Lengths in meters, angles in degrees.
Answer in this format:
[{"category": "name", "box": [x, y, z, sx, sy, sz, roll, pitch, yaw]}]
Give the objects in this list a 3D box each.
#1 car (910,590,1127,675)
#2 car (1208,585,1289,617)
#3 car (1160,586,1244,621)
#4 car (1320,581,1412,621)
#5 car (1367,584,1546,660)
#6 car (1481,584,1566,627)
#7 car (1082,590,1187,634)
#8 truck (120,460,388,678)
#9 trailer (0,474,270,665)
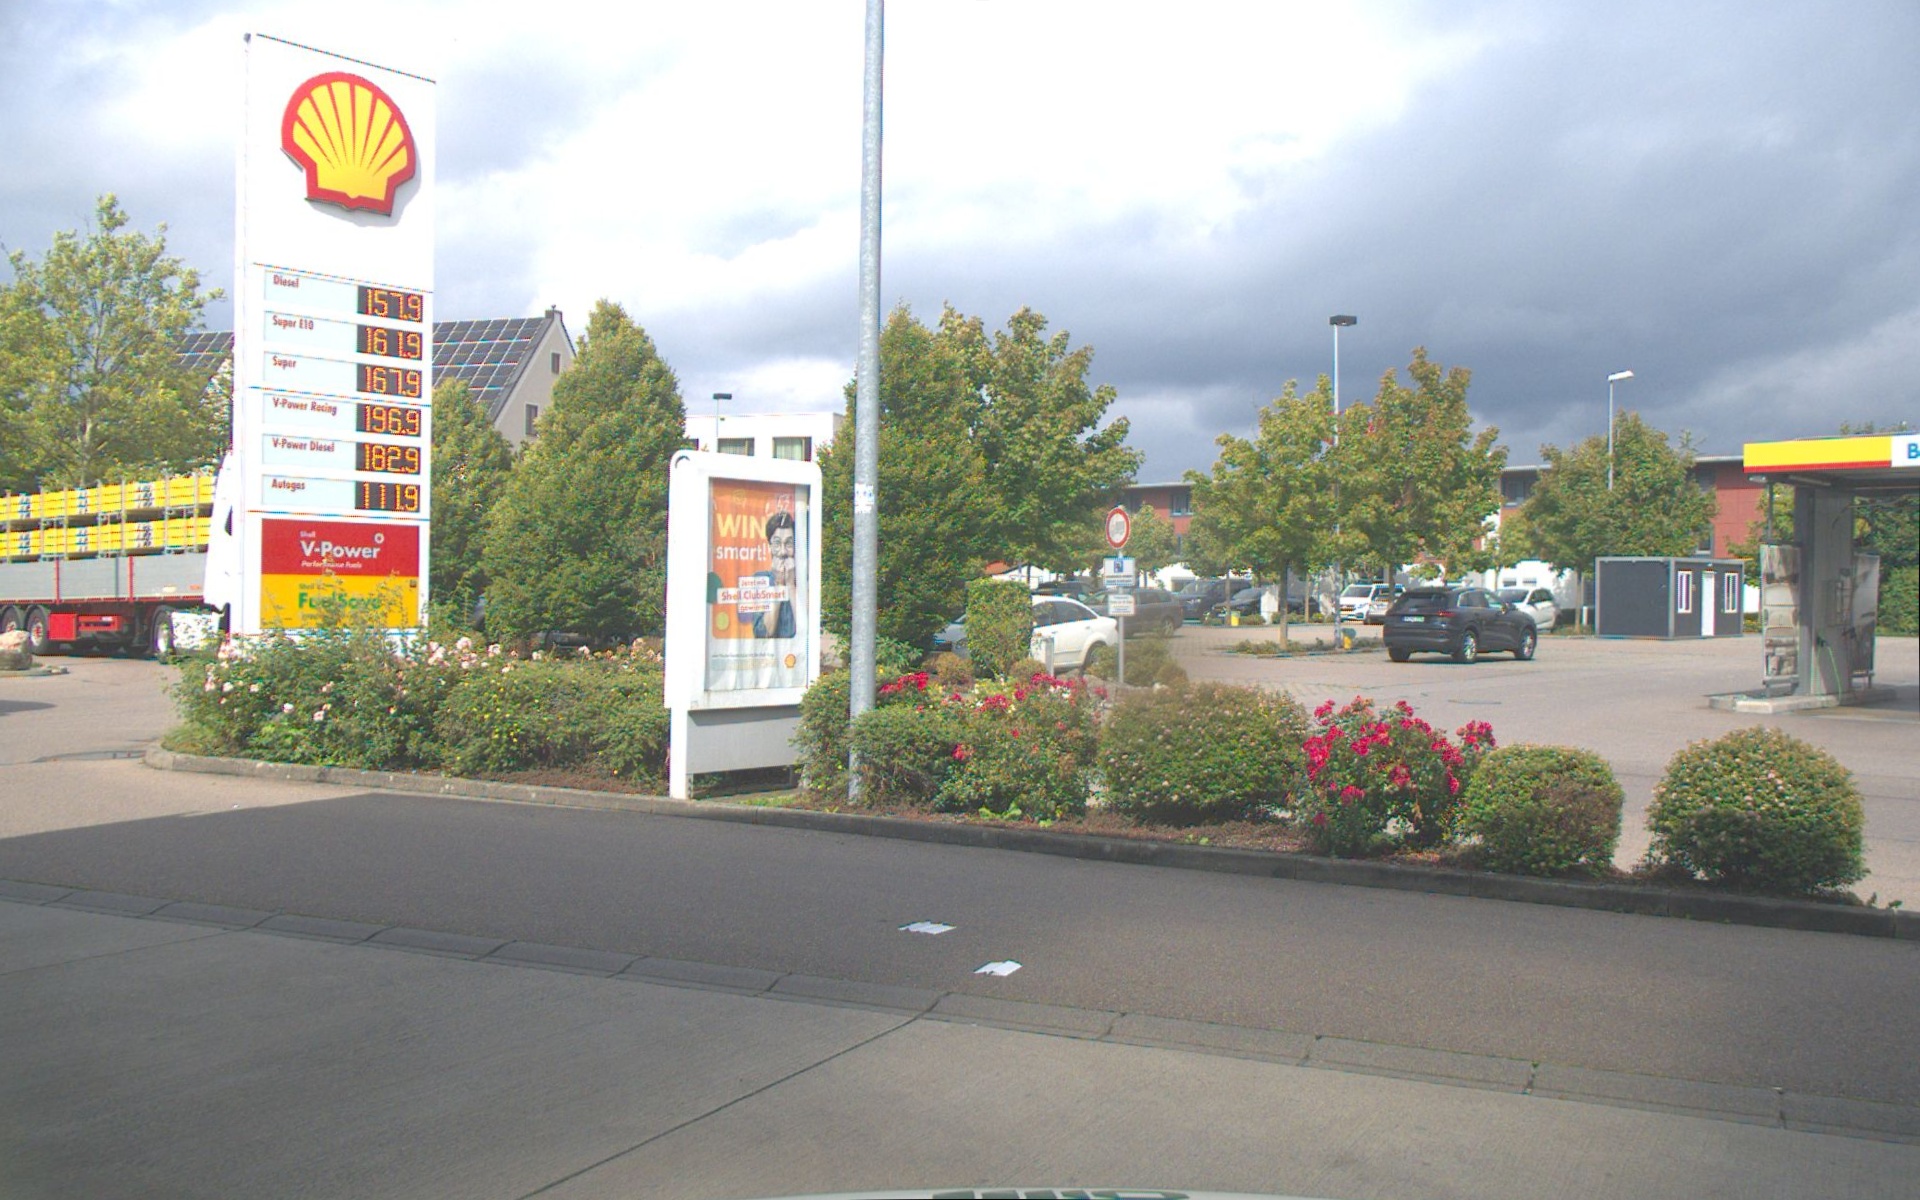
[{"category": "car", "box": [1.125, 0.578, 29.937, 1.348, 1.428, 4.312, 1, -1, 45]}, {"category": "car", "box": [11.403, 0.047, 65.211, 3.393, 1.199, 1.462, 1, 0, -45]}, {"category": "car", "box": [9.801, 0.150, 66.933, 3.364, 1.343, 1.719, 1, 0, -45]}, {"category": "car", "box": [19.905, 0.045, 80.947, 4.839, 1.865, 2.150, 1, 0, -44]}, {"category": "car", "box": [11.122, 0.491, 36.894, 4.467, 1.575, 1.856, 1, 0, -44]}, {"category": "car", "box": [17.998, 0.178, 52.807, 3.080, 1.330, 1.346, 1, -1, -45]}, {"category": "car", "box": [5.269, 0.370, 49.793, 3.203, 1.249, 1.481, 1, 0, -45]}, {"category": "truck", "box": [-14.025, -0.570, 32.671, 5.816, 3.913, 2.724, 1, -1, 43]}, {"category": "trailer", "box": [-20.515, -0.659, 38.193, 12.468, 3.842, 2.727, 1, 0, 38]}]
